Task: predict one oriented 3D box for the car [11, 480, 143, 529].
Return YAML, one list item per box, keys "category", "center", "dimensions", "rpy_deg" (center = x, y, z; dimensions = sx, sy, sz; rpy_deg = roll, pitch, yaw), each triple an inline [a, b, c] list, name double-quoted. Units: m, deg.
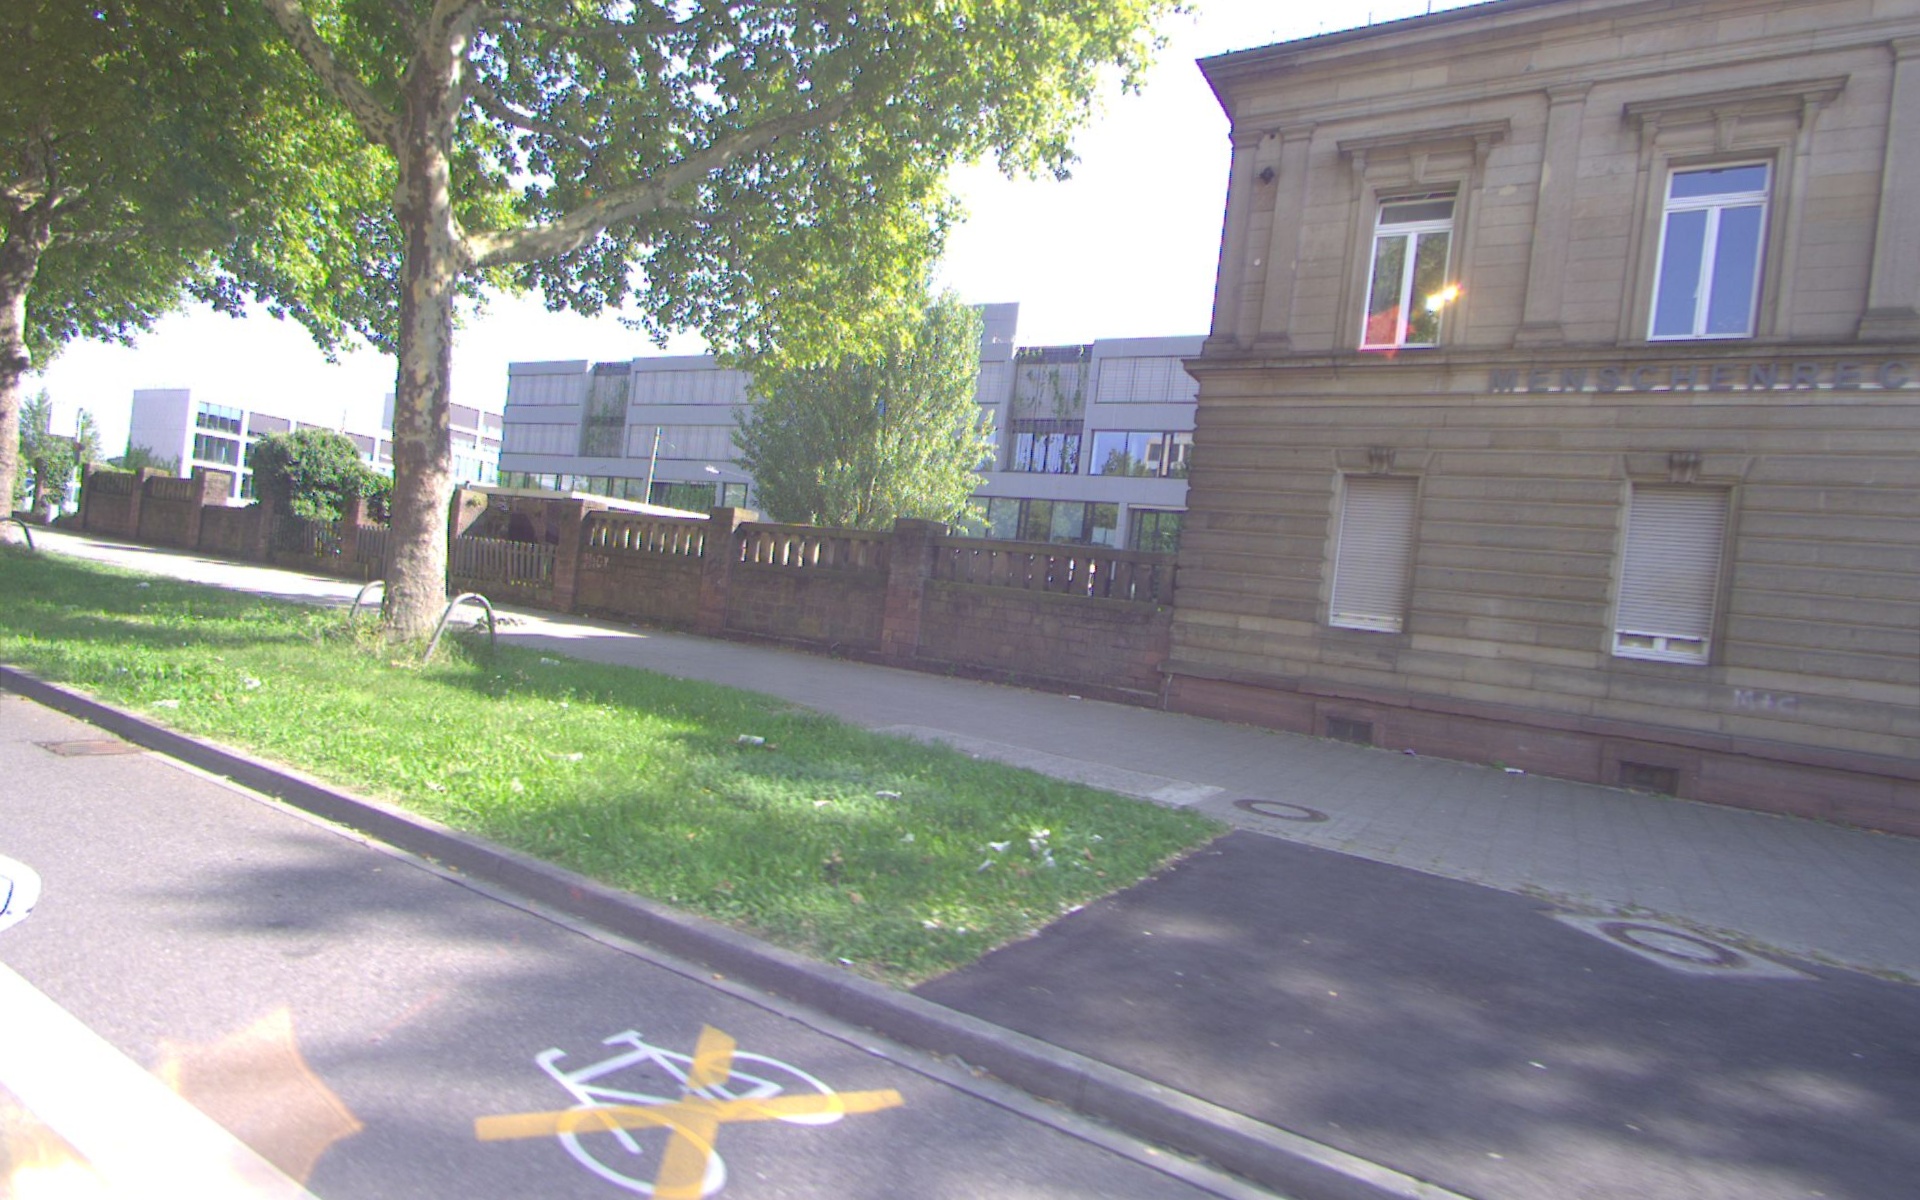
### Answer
- category: "car"
  center: [-44.342, -4.768, 50.624]
  dimensions: [1.877, 1.755, 4.528]
  rpy_deg: [7, 0, 29]
